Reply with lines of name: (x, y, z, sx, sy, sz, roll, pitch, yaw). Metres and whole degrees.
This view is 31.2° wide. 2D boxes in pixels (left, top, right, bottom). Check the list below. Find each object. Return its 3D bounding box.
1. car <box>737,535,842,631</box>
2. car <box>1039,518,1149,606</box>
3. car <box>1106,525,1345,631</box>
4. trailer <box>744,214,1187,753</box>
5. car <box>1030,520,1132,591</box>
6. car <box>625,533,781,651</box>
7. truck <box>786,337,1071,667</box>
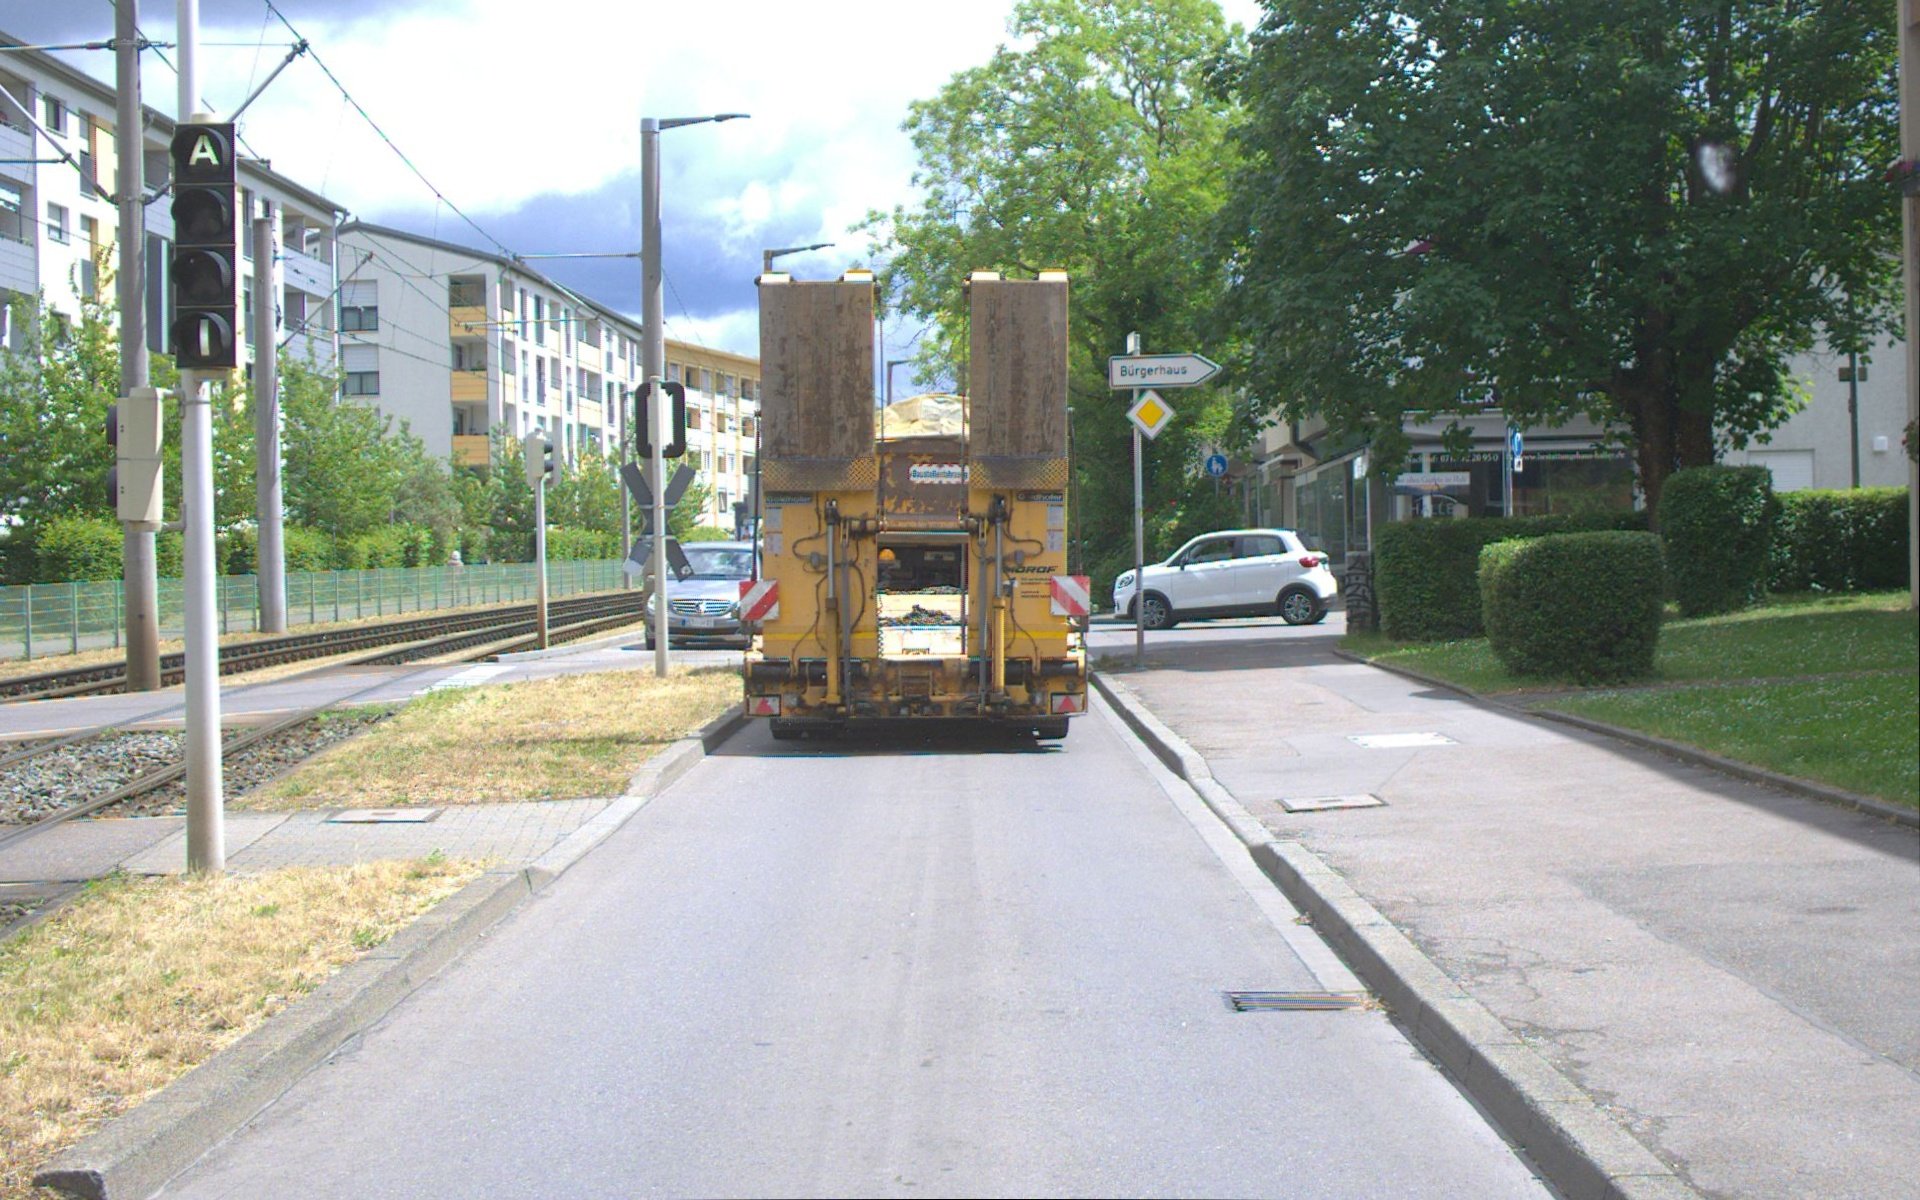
car: (-3.258, -0.335, 66.161, 1.602, 1.726, 3.938, -2, 0, 2)
car: (2.703, -0.794, 70.222, 1.993, 1.612, 4.001, -2, 2, -1)
car: (4.341, -0.364, 55.980, 3.600, 1.579, 1.999, -2, 1, 12)
trailer: (-0.214, -1.041, 30.577, 3.050, 3.759, 11.614, -2, 2, -3)
car: (2.614, -1.001, 75.120, 1.993, 1.382, 4.001, -2, 2, -1)
car: (-3.817, -0.133, 51.623, 1.802, 1.646, 4.131, -2, 0, 2)
truck: (-0.501, -1.156, 39.689, 2.833, 3.318, 7.986, -2, 2, -3)
